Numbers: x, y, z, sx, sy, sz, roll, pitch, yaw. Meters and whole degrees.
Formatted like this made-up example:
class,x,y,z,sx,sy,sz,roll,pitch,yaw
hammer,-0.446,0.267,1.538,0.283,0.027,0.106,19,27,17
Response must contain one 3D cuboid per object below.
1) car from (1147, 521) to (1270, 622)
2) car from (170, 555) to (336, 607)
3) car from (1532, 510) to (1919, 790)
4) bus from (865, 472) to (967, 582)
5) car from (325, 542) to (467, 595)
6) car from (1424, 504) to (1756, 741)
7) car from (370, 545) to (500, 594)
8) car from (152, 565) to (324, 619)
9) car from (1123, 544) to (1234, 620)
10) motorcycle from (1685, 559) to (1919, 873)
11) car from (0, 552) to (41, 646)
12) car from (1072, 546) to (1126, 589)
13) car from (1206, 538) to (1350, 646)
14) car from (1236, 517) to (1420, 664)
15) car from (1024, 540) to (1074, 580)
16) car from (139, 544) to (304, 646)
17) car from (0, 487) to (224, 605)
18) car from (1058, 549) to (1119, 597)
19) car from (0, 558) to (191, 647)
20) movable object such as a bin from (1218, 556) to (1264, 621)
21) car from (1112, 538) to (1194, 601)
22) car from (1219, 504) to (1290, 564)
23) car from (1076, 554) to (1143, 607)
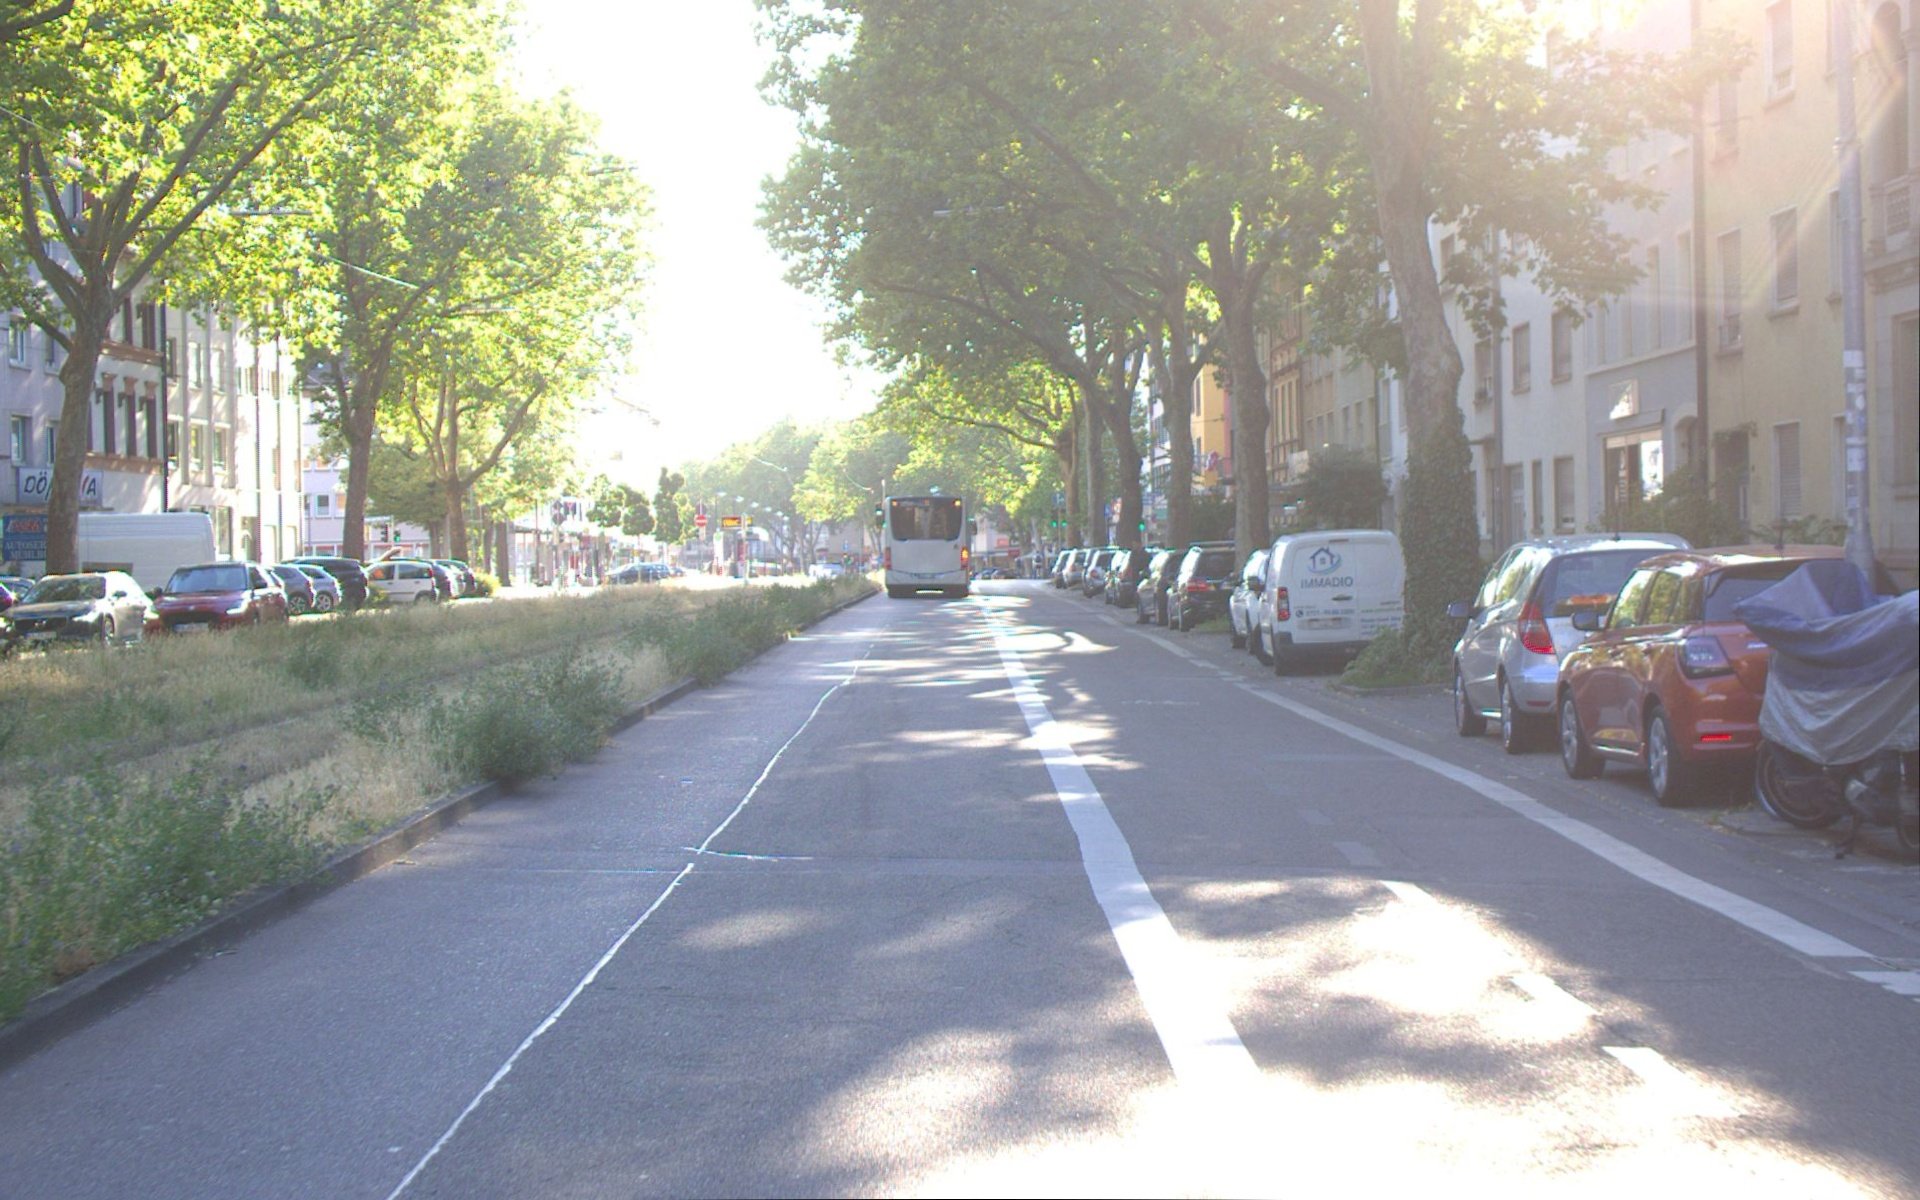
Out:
class,x,y,z,sx,sy,sz,roll,pitch,yaw
car,4.499,-0.512,62.960,1.744,1.764,4.989,-1,0,-2
car,-20.217,-0.552,98.406,4.300,1.453,1.858,-1,0,-41
car,4.933,0.271,21.311,1.993,1.555,3.980,-1,0,-2
bus,-1.427,-2.207,106.794,2.833,3.224,8.183,-1,0,-3
car,-18.753,-1.052,114.377,4.300,1.732,1.858,-1,0,-41
car,4.781,0.153,26.585,1.744,1.684,3.852,-1,0,-2
car,-19.039,-1.115,124.810,4.300,1.732,1.858,-1,0,-41
car,-19.969,-0.230,95.165,4.300,1.453,1.858,-1,0,-41
car,4.399,-0.368,69.811,1.685,1.481,4.001,-1,0,-5
motorcycle,4.505,0.518,17.011,0.823,1.393,2.380,-3,1,-13
car,-19.189,0.058,63.202,3.987,1.693,1.856,-3,1,-32
car,5.114,-1.199,126.525,1.781,1.510,4.000,-1,1,0
car,4.605,-0.150,50.174,1.645,1.481,4.000,-1,1,-1
car,4.629,-0.121,43.801,1.744,1.764,4.394,-1,0,-2
car,3.408,-1.559,132.610,1.781,1.510,4.000,-1,1,0
car,-11.873,-0.102,55.507,1.790,1.568,4.000,-1,1,0
car,-20.590,-1.229,78.929,6.935,2.669,2.186,-1,0,-21
car,4.159,-0.888,111.773,1.781,1.510,4.000,-1,1,0
car,-15.004,0.030,59.286,1.746,1.455,4.923,-1,0,8
movable object such as a bin,4.665,-0.190,57.091,0.673,1.042,0.880,-1,2,0
car,4.803,-0.778,85.814,1.781,1.510,4.000,-1,1,0
car,9.492,-2.112,110.958,1.883,1.853,4.326,-1,0,0
car,4.486,-0.595,103.478,1.781,1.510,4.000,-1,1,0
